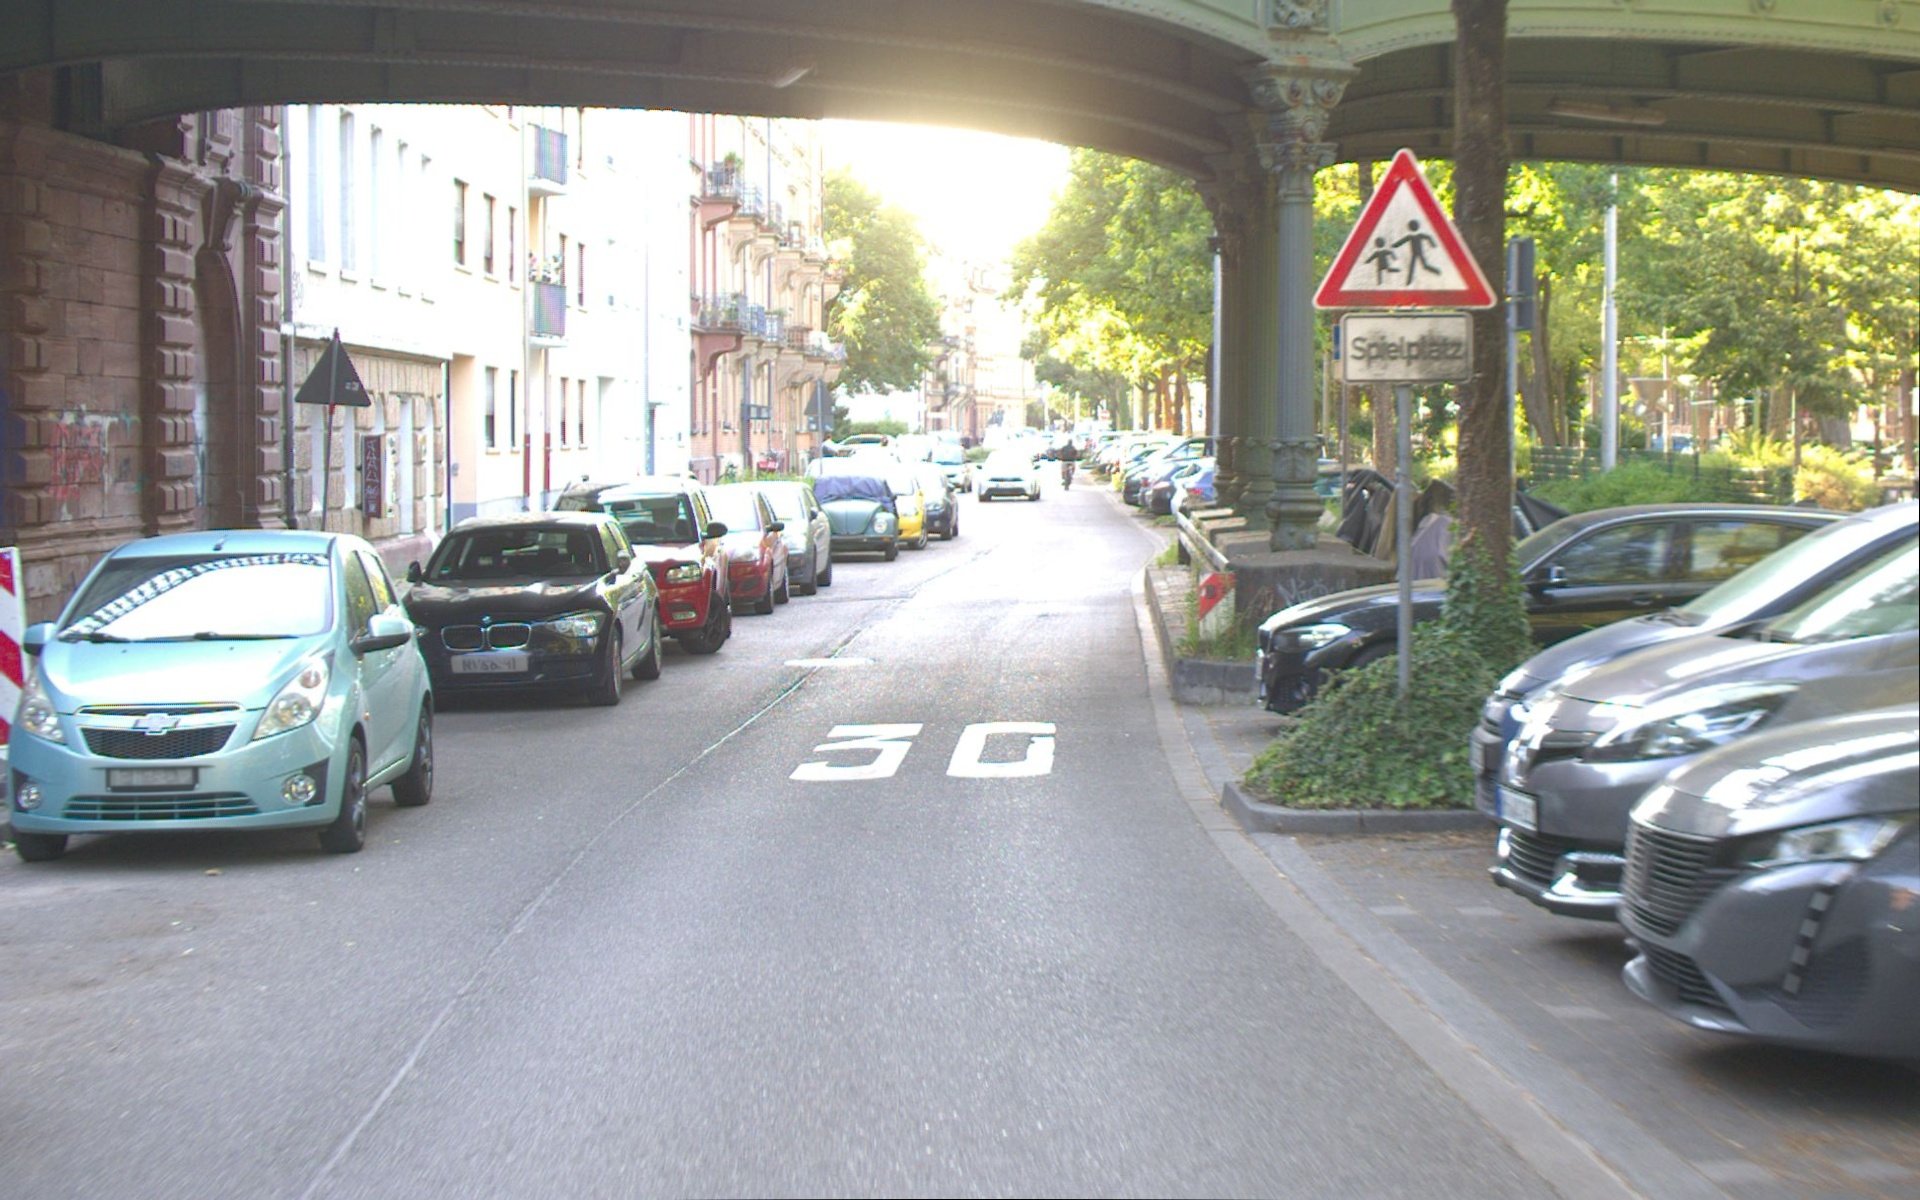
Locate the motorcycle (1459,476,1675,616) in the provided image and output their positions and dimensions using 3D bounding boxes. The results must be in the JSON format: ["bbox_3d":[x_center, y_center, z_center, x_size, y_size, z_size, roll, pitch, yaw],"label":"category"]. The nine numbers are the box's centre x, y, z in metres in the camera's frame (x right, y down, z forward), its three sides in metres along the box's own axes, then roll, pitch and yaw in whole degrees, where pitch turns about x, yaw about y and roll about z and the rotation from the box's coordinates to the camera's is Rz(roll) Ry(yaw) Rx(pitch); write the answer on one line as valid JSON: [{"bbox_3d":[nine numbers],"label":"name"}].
[{"bbox_3d":[5.064,-0.443,28.631,1.720,1.128,0.712,0,1,-33],"label":"motorcycle"}]

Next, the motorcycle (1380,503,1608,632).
[{"bbox_3d":[4.818,-0.295,31.030,1.831,1.128,0.851,1,1,-22],"label":"motorcycle"}]

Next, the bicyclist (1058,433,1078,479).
[{"bbox_3d":[3.772,-5.048,120.349,0.627,1.567,0.802,1,1,0],"label":"bicyclist"}]

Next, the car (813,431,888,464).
[{"bbox_3d":[-6.010,-8.377,188.980,3.987,1.700,2.000,1,1,3],"label":"car"}]

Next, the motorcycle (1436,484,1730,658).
[{"bbox_3d":[4.581,-0.212,25.294,1.929,1.233,0.905,1,1,-23],"label":"motorcycle"}]

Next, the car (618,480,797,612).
[{"bbox_3d":[-2.914,-0.670,40.428,1.689,1.436,4.000,0,2,2],"label":"car"}]

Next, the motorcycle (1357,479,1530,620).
[{"bbox_3d":[4.966,-0.521,35.317,1.602,1.403,0.712,2,1,22],"label":"motorcycle"}]

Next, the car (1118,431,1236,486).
[{"bbox_3d":[7.871,-5.151,124.928,4.220,1.857,1.762,-2,3,3],"label":"car"}]

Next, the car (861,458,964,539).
[{"bbox_3d":[-0.905,-2.012,67.307,1.739,1.474,4.000,-1,3,3],"label":"car"}]

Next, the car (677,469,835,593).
[{"bbox_3d":[-2.651,-0.941,45.468,1.637,1.461,4.000,-3,2,2],"label":"car"}]

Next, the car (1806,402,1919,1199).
[{"bbox_3d":[4.119,0.510,6.486,4.532,1.690,1.908,1,1,0],"label":"car"}]

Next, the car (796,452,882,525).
[{"bbox_3d":[-2.726,-2.561,78.150,1.668,1.502,4.001,3,3,1],"label":"car"}]

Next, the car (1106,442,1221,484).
[{"bbox_3d":[7.650,-5.162,129.258,4.221,1.448,1.649,-1,3,6],"label":"car"}]

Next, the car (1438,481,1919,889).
[{"bbox_3d":[4.339,0.315,14.271,4.587,1.600,1.734,0,1,5],"label":"car"}]

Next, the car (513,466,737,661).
[{"bbox_3d":[-3.132,-0.410,32.894,1.717,1.702,4.323,-1,2,0],"label":"car"}]

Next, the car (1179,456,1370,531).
[{"bbox_3d":[6.351,-2.134,69.236,3.783,1.442,1.664,-1,1,7],"label":"car"}]

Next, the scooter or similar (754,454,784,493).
[{"bbox_3d":[-6.342,-4.194,114.251,0.783,1.218,2.704,1,1,1],"label":"scooter or similar"}]

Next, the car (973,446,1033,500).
[{"bbox_3d":[1.309,-3.844,103.409,1.668,1.425,4.001,-2,4,2],"label":"car"}]

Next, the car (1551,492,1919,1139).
[{"bbox_3d":[3.932,0.531,9.106,4.374,1.527,1.876,1,1,0],"label":"car"}]

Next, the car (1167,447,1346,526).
[{"bbox_3d":[6.434,-2.455,74.805,3.782,1.640,1.664,-1,1,2],"label":"car"}]

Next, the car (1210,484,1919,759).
[{"bbox_3d":[3.827,0.113,21.449,4.374,1.572,1.674,1,1,0],"label":"car"}]

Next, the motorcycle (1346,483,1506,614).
[{"bbox_3d":[5.177,-0.579,38.193,1.602,1.403,0.712,2,1,22],"label":"motorcycle"}]

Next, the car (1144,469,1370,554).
[{"bbox_3d":[5.074,-1.515,59.110,3.782,1.396,1.827,-1,1,3],"label":"car"}]

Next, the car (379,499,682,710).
[{"bbox_3d":[-3.285,-0.023,26.989,1.717,1.459,4.000,-1,2,2],"label":"car"}]

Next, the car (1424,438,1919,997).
[{"bbox_3d":[3.930,0.374,11.616,4.374,1.702,1.907,1,1,-3],"label":"car"}]

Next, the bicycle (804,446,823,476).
[{"bbox_3d":[-5.856,-5.547,137.299,0.705,1.143,1.890,1,1,-2],"label":"bicycle"}]

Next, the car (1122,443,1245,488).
[{"bbox_3d":[7.764,-4.679,119.638,4.081,1.437,1.762,-2,3,-1],"label":"car"}]

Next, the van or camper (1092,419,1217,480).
[{"bbox_3d":[8.014,-6.205,141.887,4.981,2.369,2.185,1,1,0],"label":"van or camper"}]

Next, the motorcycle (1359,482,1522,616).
[{"bbox_3d":[5.212,-0.559,37.322,1.602,1.403,0.712,2,1,22],"label":"motorcycle"}]

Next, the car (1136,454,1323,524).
[{"bbox_3d":[6.414,-2.641,82.056,4.400,1.572,1.664,-1,1,4],"label":"car"}]

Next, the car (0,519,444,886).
[{"bbox_3d":[-3.630,0.407,17.082,1.594,1.542,3.916,-1,2,-1],"label":"car"}]

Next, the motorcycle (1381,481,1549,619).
[{"bbox_3d":[5.307,-0.532,36.122,1.602,1.403,0.712,2,1,22],"label":"motorcycle"}]

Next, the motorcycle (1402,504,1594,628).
[{"bbox_3d":[5.051,-0.318,32.305,1.599,1.128,0.713,1,1,-15],"label":"motorcycle"}]

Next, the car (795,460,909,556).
[{"bbox_3d":[-1.761,-1.548,57.103,1.567,1.512,3.782,0,3,3],"label":"car"}]

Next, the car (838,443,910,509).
[{"bbox_3d":[-2.304,-3.376,93.075,1.752,1.700,4.201,1,3,1],"label":"car"}]

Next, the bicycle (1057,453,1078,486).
[{"bbox_3d":[3.766,-4.568,120.291,0.641,1.096,1.944,1,1,0],"label":"bicycle"}]

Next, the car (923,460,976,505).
[{"bbox_3d":[-0.348,-3.984,116.413,1.504,1.430,2.753,-1,3,6],"label":"car"}]

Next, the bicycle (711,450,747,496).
[{"bbox_3d":[-6.451,-3.554,96.238,0.737,1.202,2.514,1,4,2],"label":"bicycle"}]

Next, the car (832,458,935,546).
[{"bbox_3d":[-1.363,-1.806,62.454,1.702,1.520,3.774,0,3,1],"label":"car"}]
